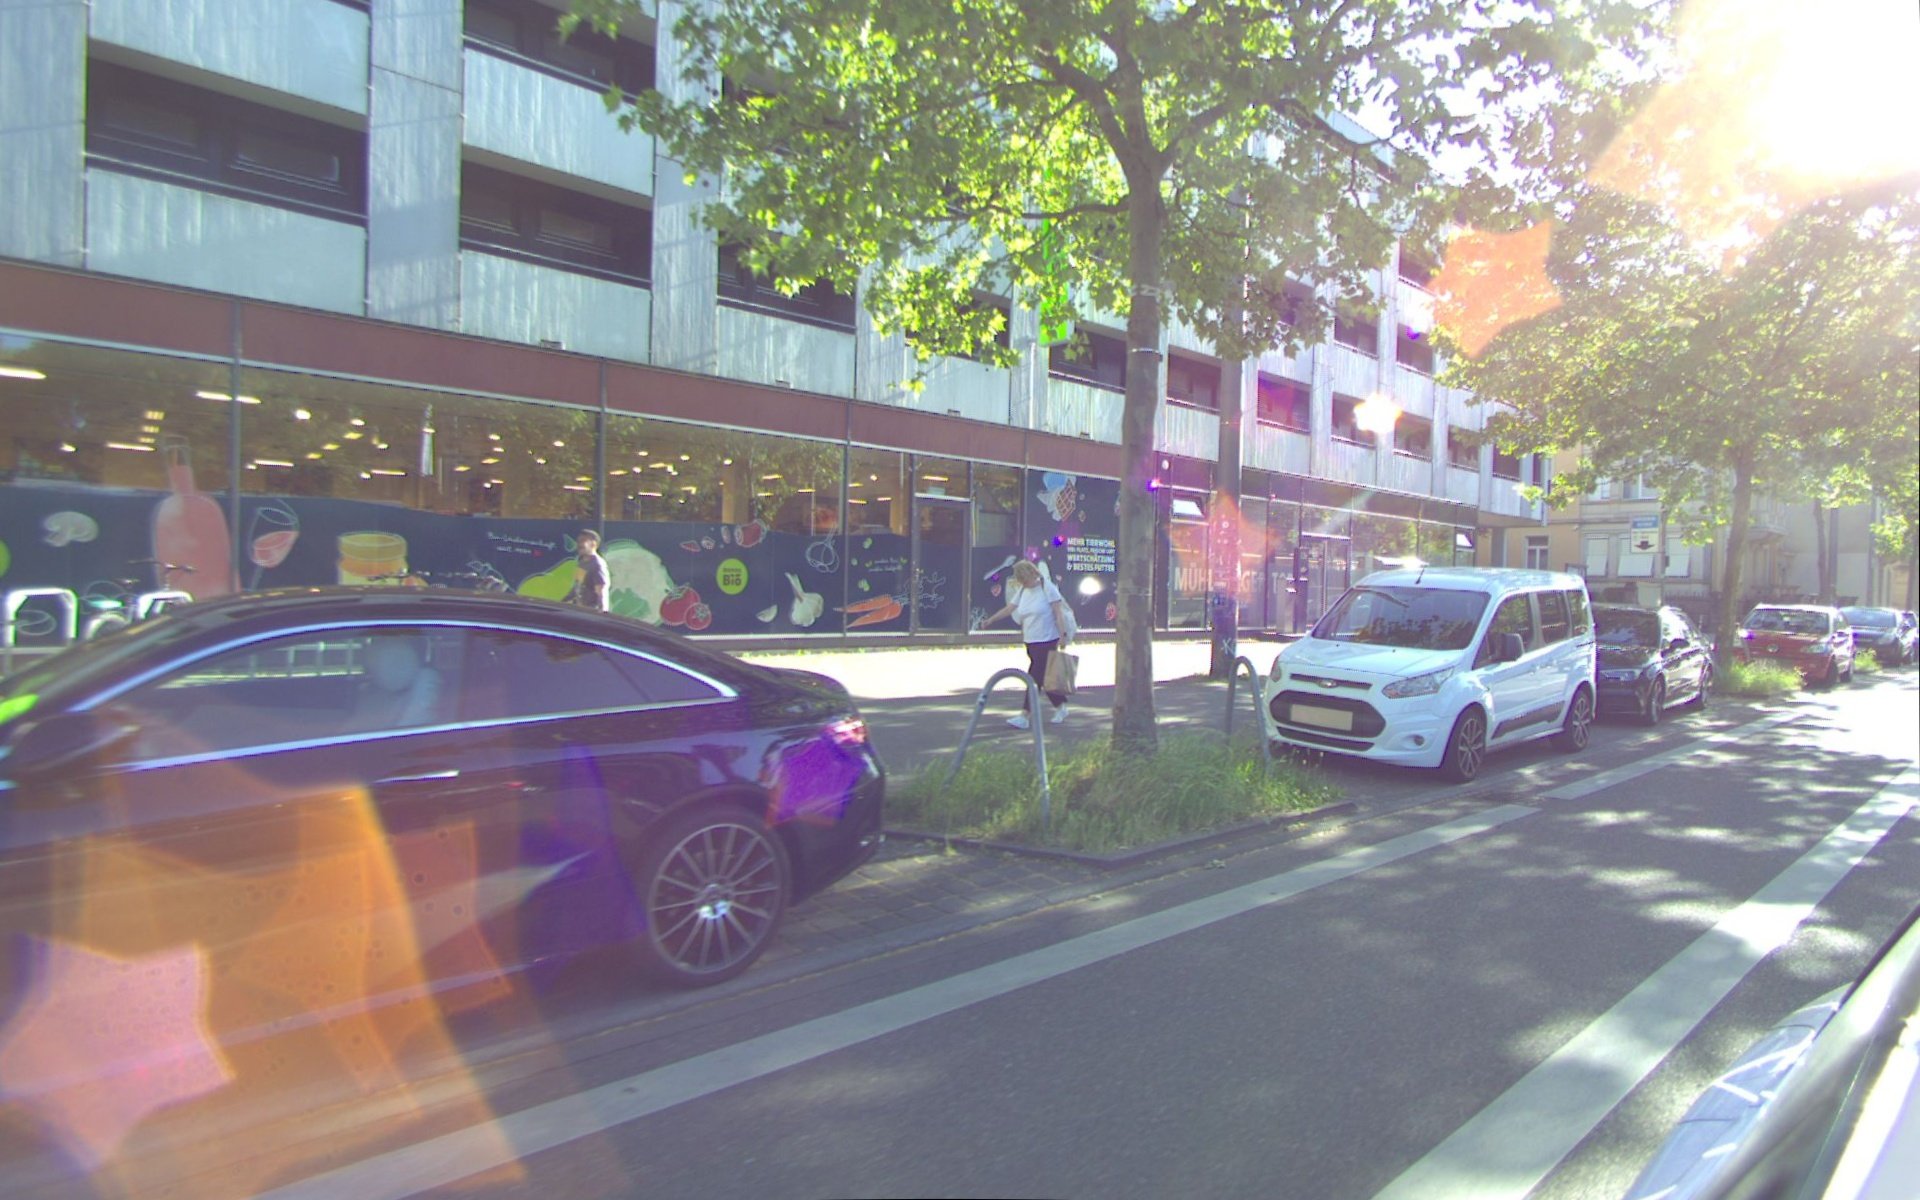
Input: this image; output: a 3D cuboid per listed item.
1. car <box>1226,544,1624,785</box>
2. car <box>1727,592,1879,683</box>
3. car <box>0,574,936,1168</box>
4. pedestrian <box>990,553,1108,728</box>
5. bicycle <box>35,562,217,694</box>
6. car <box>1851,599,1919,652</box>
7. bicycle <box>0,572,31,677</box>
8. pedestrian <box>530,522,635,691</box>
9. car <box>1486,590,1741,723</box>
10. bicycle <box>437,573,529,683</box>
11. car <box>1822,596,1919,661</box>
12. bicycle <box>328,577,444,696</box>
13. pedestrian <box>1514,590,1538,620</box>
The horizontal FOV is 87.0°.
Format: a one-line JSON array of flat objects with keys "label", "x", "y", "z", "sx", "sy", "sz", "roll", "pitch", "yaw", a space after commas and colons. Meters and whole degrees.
[{"label": "car", "x": 4.605, "y": 0.458, "z": 9.729, "sx": 4.315, "sy": 1.814, "sz": 1.768, "roll": 0, "pitch": 2, "yaw": -40}, {"label": "car", "x": 16.442, "y": 0.652, "z": 19.689, "sx": 3.627, "sy": 1.455, "sz": 1.676, "roll": -1, "pitch": 5, "yaw": -42}, {"label": "car", "x": -2.413, "y": 0.638, "z": 3.538, "sx": 4.619, "sy": 1.436, "sz": 1.764, "roll": 0, "pitch": 1, "yaw": -41}, {"label": "pedestrian", "x": 0.885, "y": 0.375, "z": 10.095, "sx": 0.852, "sy": 1.632, "sz": 0.700, "roll": 0, "pitch": 3, "yaw": -39}, {"label": "bicycle", "x": -7.751, "y": 0.217, "z": 9.499, "sx": 0.573, "sy": 1.068, "sz": 1.709, "roll": 5, "pitch": 2, "yaw": -14}, {"label": "car", "x": 27.800, "y": 0.711, "z": 29.799, "sx": 4.201, "sy": 1.399, "sz": 1.780, "roll": 0, "pitch": 1, "yaw": -41}, {"label": "bicycle", "x": -8.841, "y": 0.245, "z": 8.634, "sx": 0.573, "sy": 0.927, "sz": 1.656, "roll": 5, "pitch": 2, "yaw": -14}, {"label": "pedestrian", "x": -3.993, "y": 0.054, "z": 10.706, "sx": 0.867, "sy": 1.698, "sz": 0.559, "roll": 0, "pitch": 4, "yaw": -41}, {"label": "car", "x": 8.844, "y": 0.637, "z": 13.566, "sx": 4.220, "sy": 1.420, "sz": 1.732, "roll": 0, "pitch": 3, "yaw": -41}, {"label": "bicycle", "x": -5.360, "y": 0.276, "z": 11.451, "sx": 0.573, "sy": 1.068, "sz": 1.710, "roll": 2, "pitch": 3, "yaw": -13}, {"label": "car", "x": 23.634, "y": 0.673, "z": 26.005, "sx": 3.861, "sy": 1.459, "sz": 1.629, "roll": 0, "pitch": 3, "yaw": -41}, {"label": "bicycle", "x": -6.035, "y": 0.343, "z": 10.728, "sx": 0.573, "sy": 1.068, "sz": 1.709, "roll": 3, "pitch": 3, "yaw": -14}, {"label": "pedestrian", "x": 22.004, "y": 0.187, "z": 39.354, "sx": 0.672, "sy": 1.123, "sz": 0.560, "roll": 0, "pitch": 2, "yaw": -40}]
